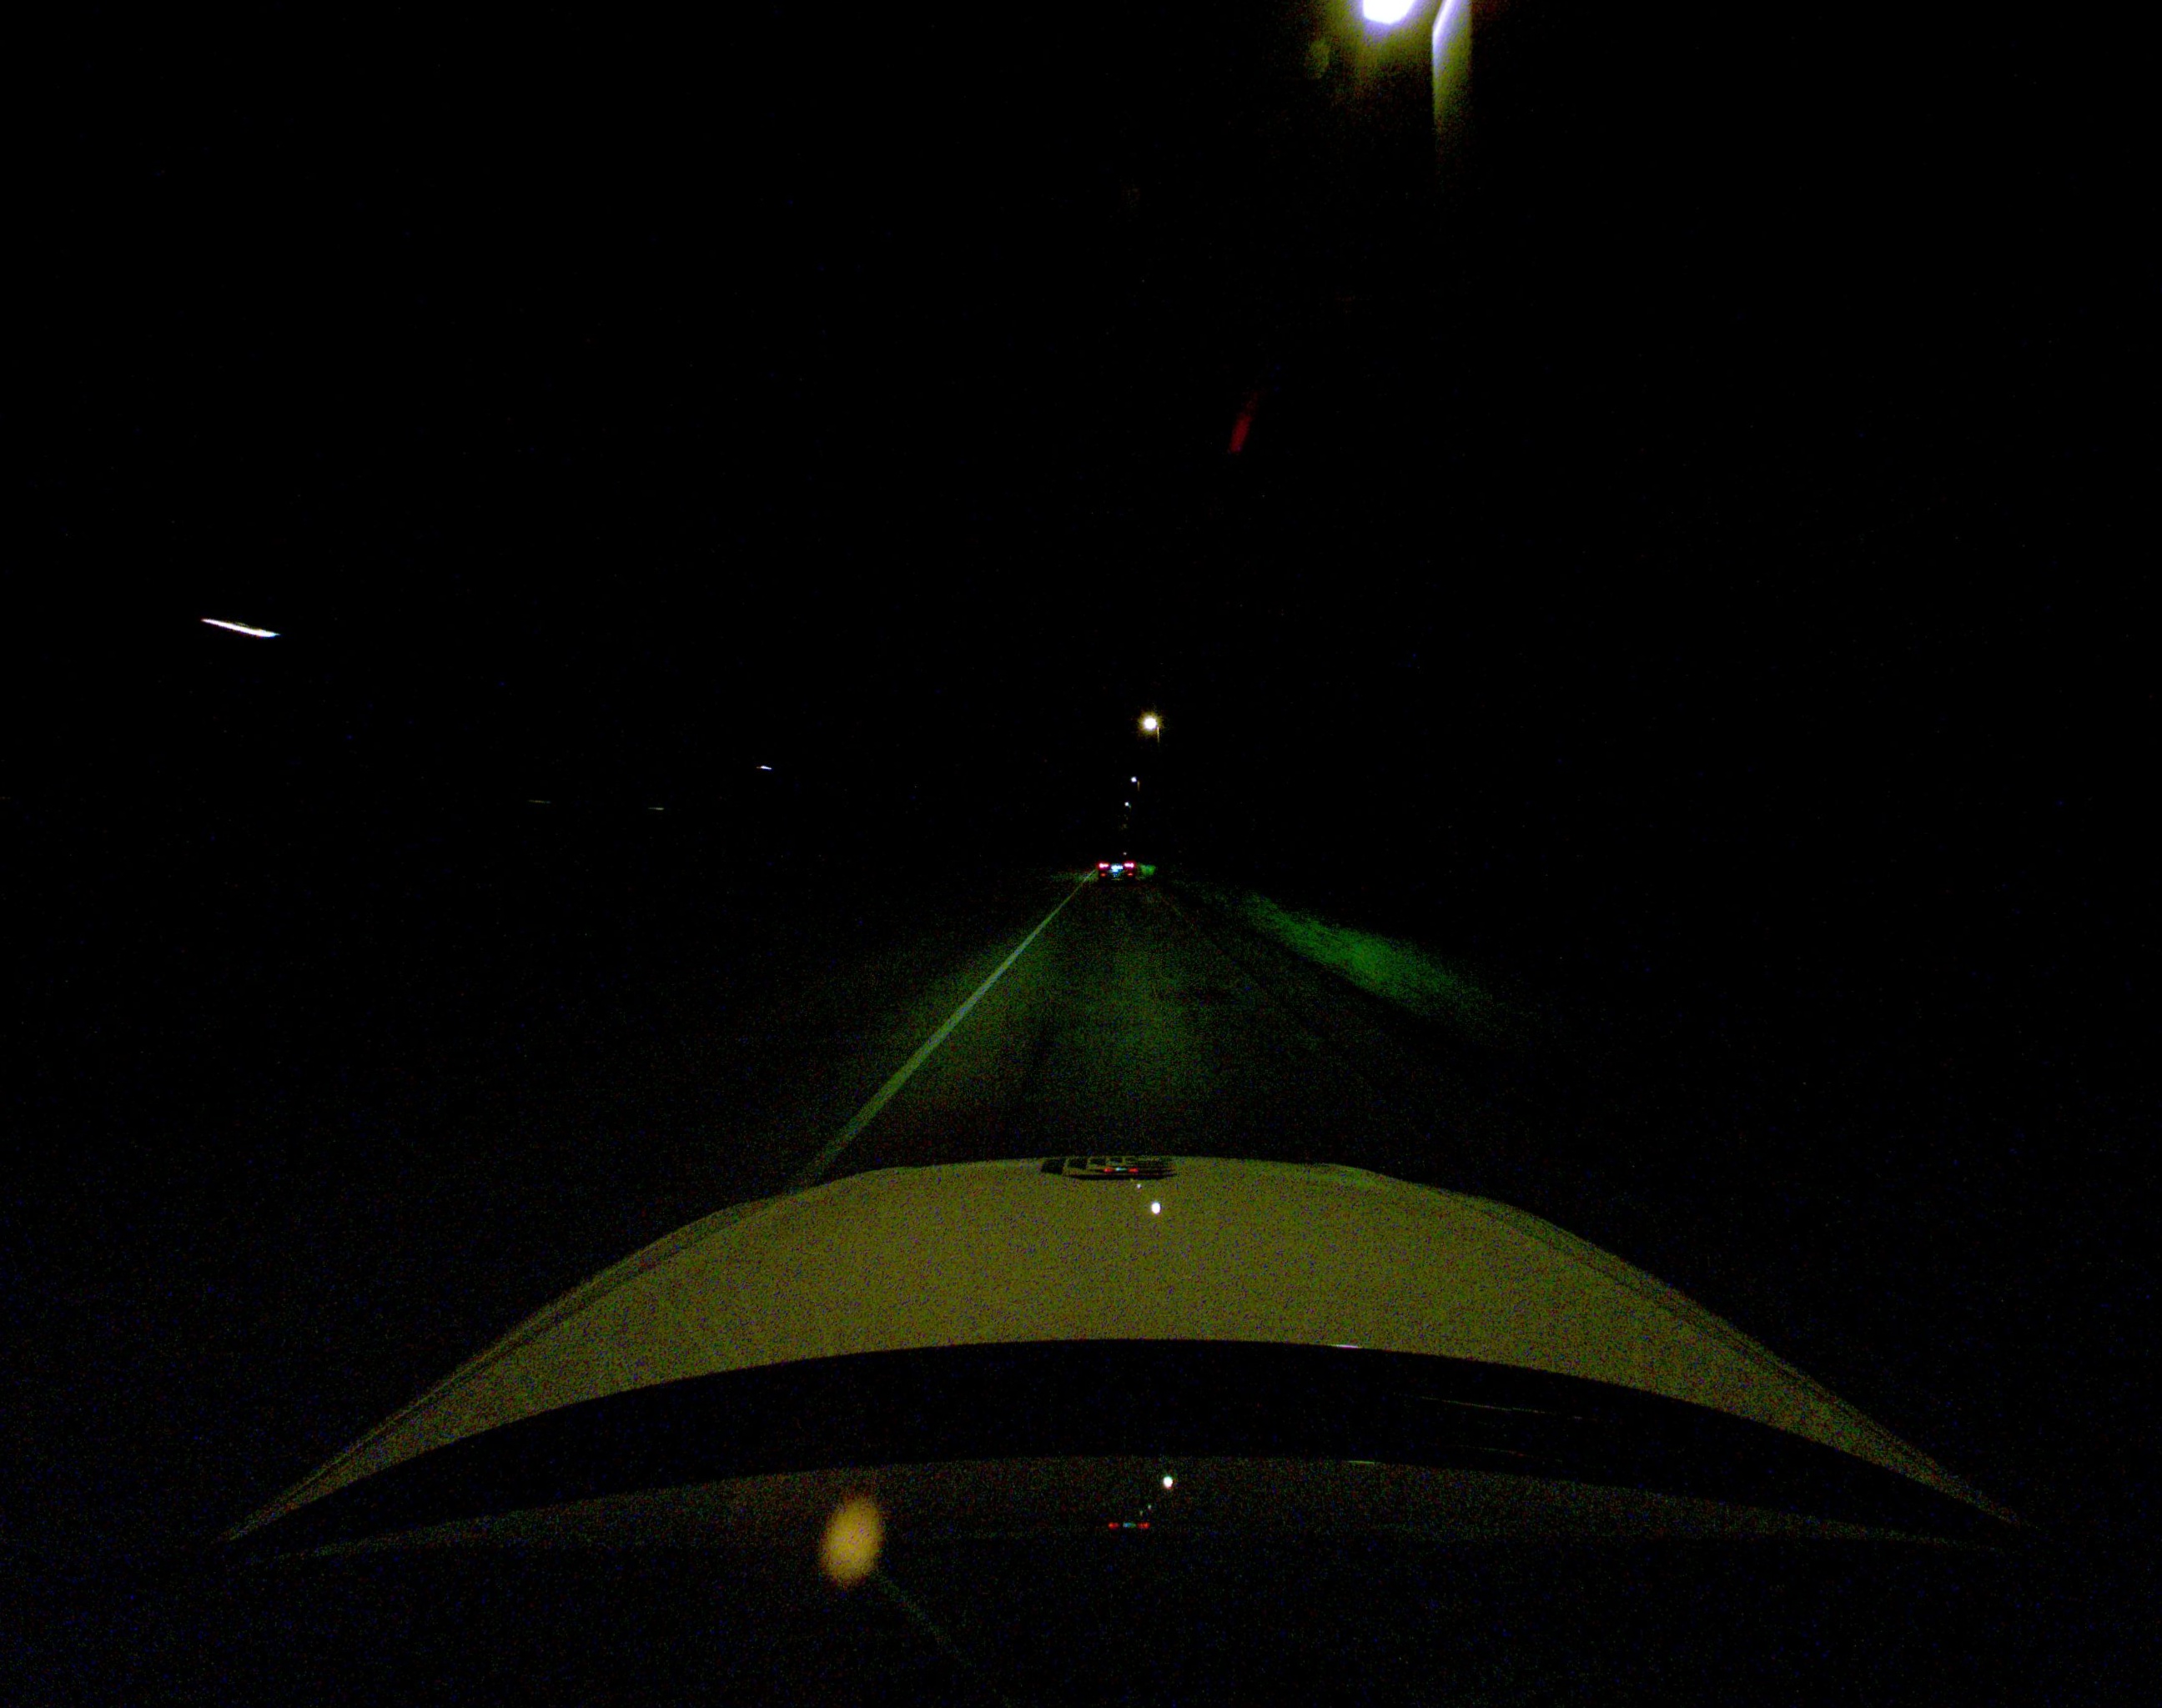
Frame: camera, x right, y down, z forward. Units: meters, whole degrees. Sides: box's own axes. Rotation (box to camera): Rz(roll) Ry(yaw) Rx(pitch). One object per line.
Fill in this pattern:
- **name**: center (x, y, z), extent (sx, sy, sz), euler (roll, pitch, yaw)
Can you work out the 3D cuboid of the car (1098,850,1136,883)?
- **car**: center (1.746, 0.593, 40.552), extent (1.808, 1.573, 3.944), euler (-1, 0, 1)
